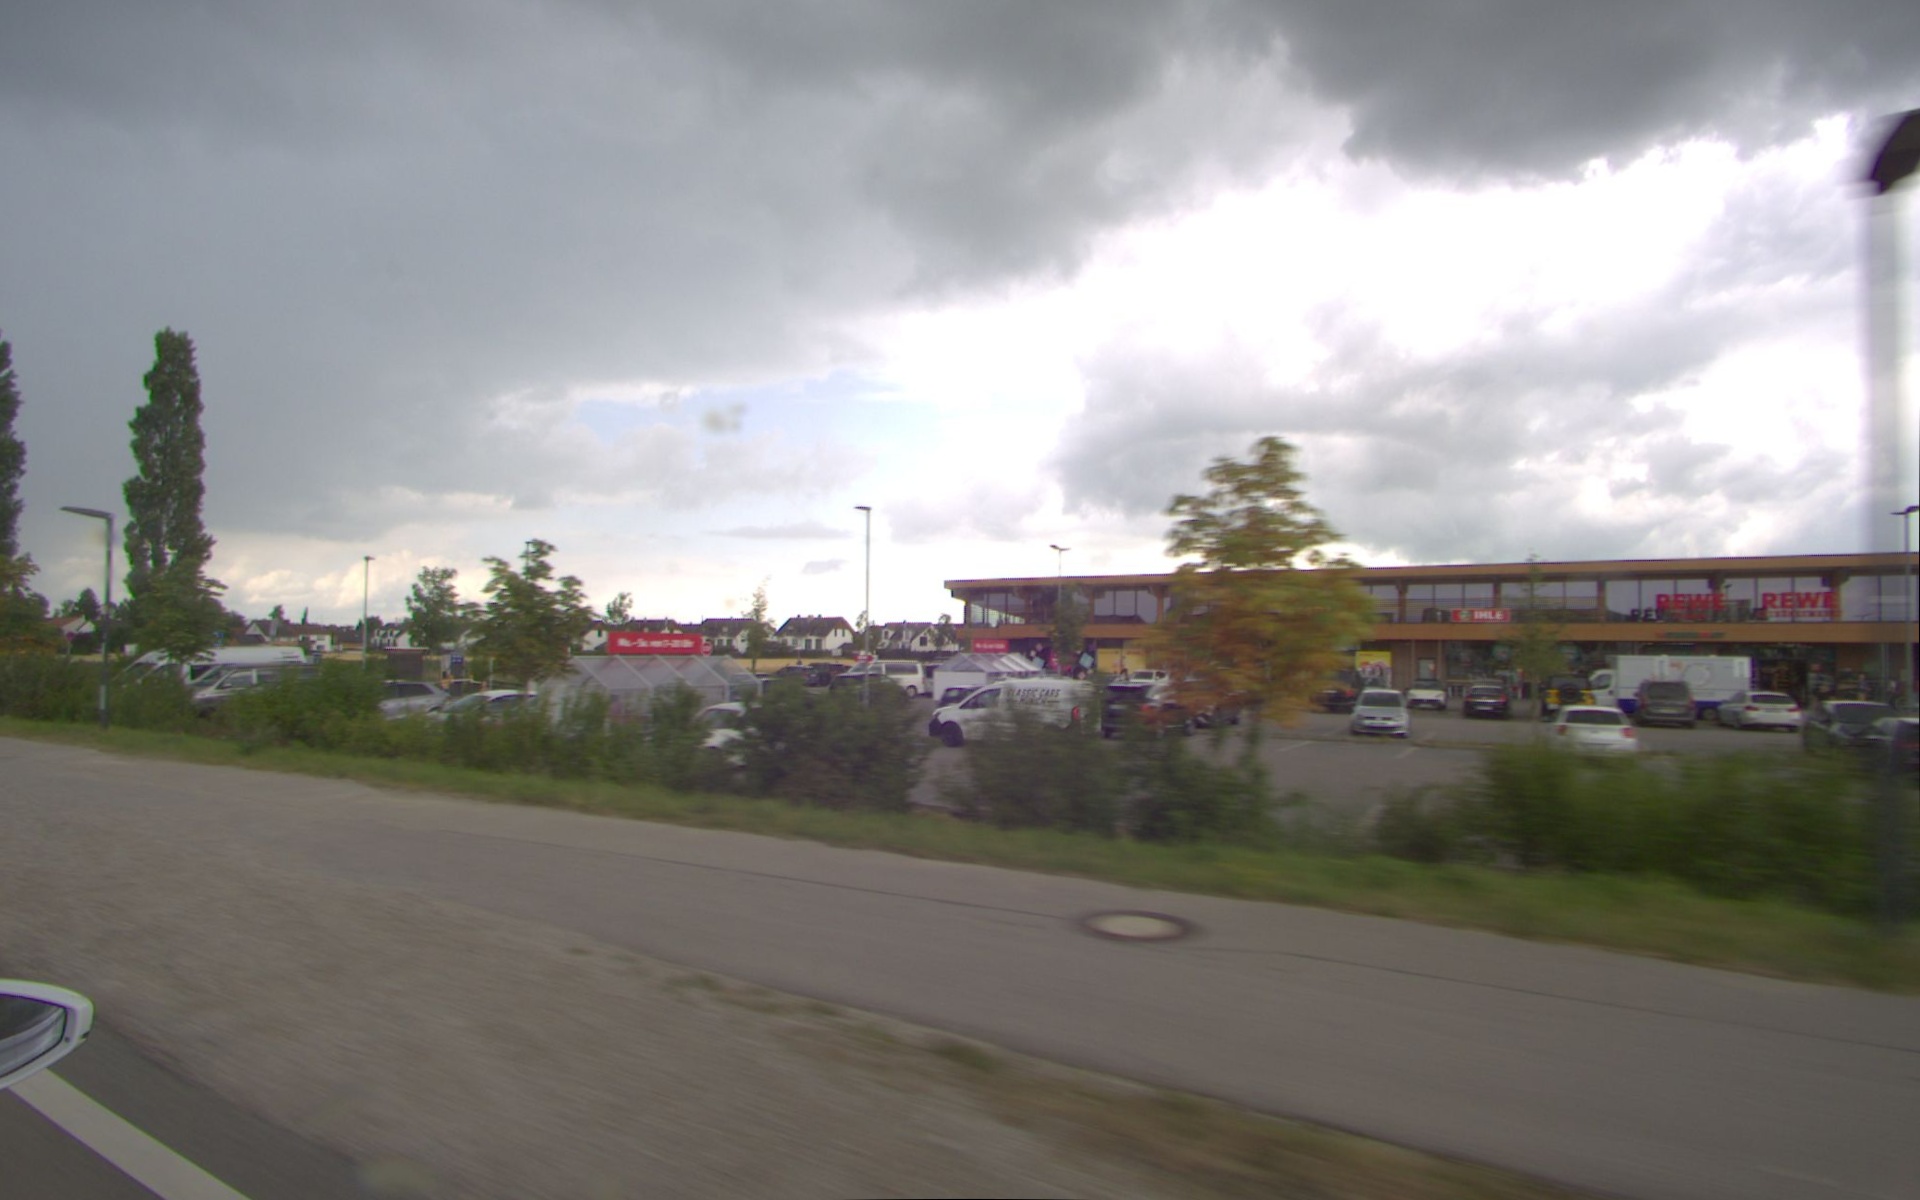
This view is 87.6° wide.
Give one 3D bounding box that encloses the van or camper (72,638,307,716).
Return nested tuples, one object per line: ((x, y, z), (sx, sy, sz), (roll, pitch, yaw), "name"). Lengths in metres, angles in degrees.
((-27.720, 2.667, 36.372), (2.247, 2.496, 6.460), (-1, -1, 29), "van or camper")

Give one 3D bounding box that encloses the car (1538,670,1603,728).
((24.941, 3.989, 40.867), (1.974, 2.040, 3.975), (-1, -1, 36), "car")

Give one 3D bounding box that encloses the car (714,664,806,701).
((-9.082, 3.732, 45.856), (1.873, 1.451, 4.173), (-1, -1, 30), "car")

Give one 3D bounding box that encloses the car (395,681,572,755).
((-12.717, 3.098, 26.972), (1.651, 1.558, 4.142), (-1, -1, 30), "car")

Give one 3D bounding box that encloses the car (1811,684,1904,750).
((31.162, 3.998, 34.879), (1.974, 1.895, 4.247), (-1, -1, 36), "car")

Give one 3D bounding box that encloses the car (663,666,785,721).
((-8.382, 3.289, 35.819), (1.974, 1.639, 3.975), (-1, -1, 36), "car")

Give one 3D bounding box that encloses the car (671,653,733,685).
((-17.822, 4.696, 69.054), (3.943, 2.040, 1.990), (-1, -1, 32), "car")

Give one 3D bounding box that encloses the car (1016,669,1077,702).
((4.641, 4.517, 53.312), (1.767, 1.496, 3.731), (-1, -1, 32), "car")

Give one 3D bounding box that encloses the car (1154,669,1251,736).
((8.641, 3.555, 35.491), (1.974, 2.040, 3.975), (-1, -1, 36), "car")

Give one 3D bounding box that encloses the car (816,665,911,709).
((-4.128, 3.730, 43.401), (1.974, 1.639, 3.975), (-1, -1, 36), "car")

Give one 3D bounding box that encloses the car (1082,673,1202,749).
((5.613, 3.292, 30.494), (1.974, 1.895, 4.247), (-1, -1, 36), "car")

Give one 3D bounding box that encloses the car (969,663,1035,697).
((2.289, 4.278, 54.162), (2.010, 1.628, 3.731), (-1, -1, 32), "car")

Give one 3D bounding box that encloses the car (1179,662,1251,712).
((12.180, 4.057, 47.582), (1.970, 2.039, 5.122), (-1, -1, 30), "car")

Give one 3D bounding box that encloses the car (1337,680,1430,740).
((14.056, 3.572, 33.121), (1.974, 1.572, 4.105), (-1, -1, 36), "car")

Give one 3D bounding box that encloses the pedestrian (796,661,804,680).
((-15.165, 6.674, 94.668), (0.591, 1.784, 0.481), (0, 0, 32), "pedestrian")

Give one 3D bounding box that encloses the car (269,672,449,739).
((-17.710, 3.044, 29.689), (2.049, 1.618, 4.142), (-1, -1, 30), "car")

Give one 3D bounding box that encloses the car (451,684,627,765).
((-10.206, 2.973, 24.525), (1.651, 1.558, 3.752), (-1, -1, 30), "car")

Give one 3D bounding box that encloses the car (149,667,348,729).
((-23.102, 3.130, 32.752), (1.732, 1.618, 5.090), (-1, -1, 30), "car")

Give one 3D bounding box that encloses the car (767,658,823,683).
((-11.316, 4.814, 68.607), (3.528, 1.527, 1.742), (-1, -1, 32), "car")

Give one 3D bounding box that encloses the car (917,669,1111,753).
((1.441, 2.935, 27.242), (4.866, 1.931, 2.102), (-1, -1, 28), "car")

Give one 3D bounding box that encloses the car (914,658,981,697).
((-0.633, 4.220, 55.211), (2.008, 1.936, 3.888), (-1, -1, 30), "car")

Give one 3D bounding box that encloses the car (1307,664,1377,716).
((17.211, 3.985, 45.059), (1.974, 2.040, 3.975), (-1, -1, 36), "car")

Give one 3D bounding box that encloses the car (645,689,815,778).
((-5.079, 2.913, 22.559), (1.651, 1.558, 3.752), (-1, -1, 30), "car")

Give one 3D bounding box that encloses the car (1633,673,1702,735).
((27.207, 3.932, 38.494), (2.044, 2.040, 3.975), (-1, -1, 36), "car")

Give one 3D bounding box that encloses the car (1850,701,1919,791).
((20.194, 3.023, 20.883), (1.775, 1.726, 3.380), (-1, -5, 30), "car")

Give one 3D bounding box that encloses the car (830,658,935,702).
((-3.952, 4.080, 51.684), (5.167, 2.040, 1.987), (1, -1, -35), "car")

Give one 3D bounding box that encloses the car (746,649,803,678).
((-13.966, 4.781, 75.472), (3.943, 2.040, 1.990), (-1, -1, 32), "car")

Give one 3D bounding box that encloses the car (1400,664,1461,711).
((22.834, 4.188, 48.567), (1.974, 2.040, 3.975), (-1, -1, 36), "car")

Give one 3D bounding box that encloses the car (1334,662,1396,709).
((20.360, 4.239, 50.275), (1.974, 2.039, 4.097), (-1, -1, 36), "car")

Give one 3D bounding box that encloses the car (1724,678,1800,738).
((30.050, 3.998, 37.621), (2.044, 1.872, 3.975), (-1, -1, 36), "car")

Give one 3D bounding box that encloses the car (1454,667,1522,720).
((22.335, 3.922, 42.287), (1.974, 2.038, 3.978), (-1, -4, 36), "car")

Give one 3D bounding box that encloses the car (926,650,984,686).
((-0.283, 4.231, 63.104), (1.823, 2.036, 4.213), (-1, -1, 30), "car")

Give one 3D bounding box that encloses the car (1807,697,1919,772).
((23.905, 3.491, 26.501), (1.974, 1.504, 4.105), (-1, -1, 36), "car")

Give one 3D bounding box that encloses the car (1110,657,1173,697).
((10.189, 4.265, 56.090), (1.974, 2.040, 3.975), (-1, -1, 36), "car")

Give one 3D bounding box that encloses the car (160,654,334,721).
((-24.803, 2.978, 35.035), (1.970, 2.039, 4.588), (-1, -1, 30), "car")

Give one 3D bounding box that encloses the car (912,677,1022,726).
((0.303, 3.369, 33.861), (1.971, 1.460, 3.984), (-1, -3, 31), "car")

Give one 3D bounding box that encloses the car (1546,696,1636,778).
((15.340, 3.266, 24.479), (1.727, 1.552, 3.544), (-1, -1, 30), "car")

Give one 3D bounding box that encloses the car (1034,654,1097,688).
((6.107, 4.038, 57.703), (1.920, 1.772, 3.975), (-1, -1, 36), "car")

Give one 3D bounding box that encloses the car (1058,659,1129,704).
((6.930, 4.170, 51.783), (1.974, 2.040, 3.975), (-1, -1, 36), "car")
